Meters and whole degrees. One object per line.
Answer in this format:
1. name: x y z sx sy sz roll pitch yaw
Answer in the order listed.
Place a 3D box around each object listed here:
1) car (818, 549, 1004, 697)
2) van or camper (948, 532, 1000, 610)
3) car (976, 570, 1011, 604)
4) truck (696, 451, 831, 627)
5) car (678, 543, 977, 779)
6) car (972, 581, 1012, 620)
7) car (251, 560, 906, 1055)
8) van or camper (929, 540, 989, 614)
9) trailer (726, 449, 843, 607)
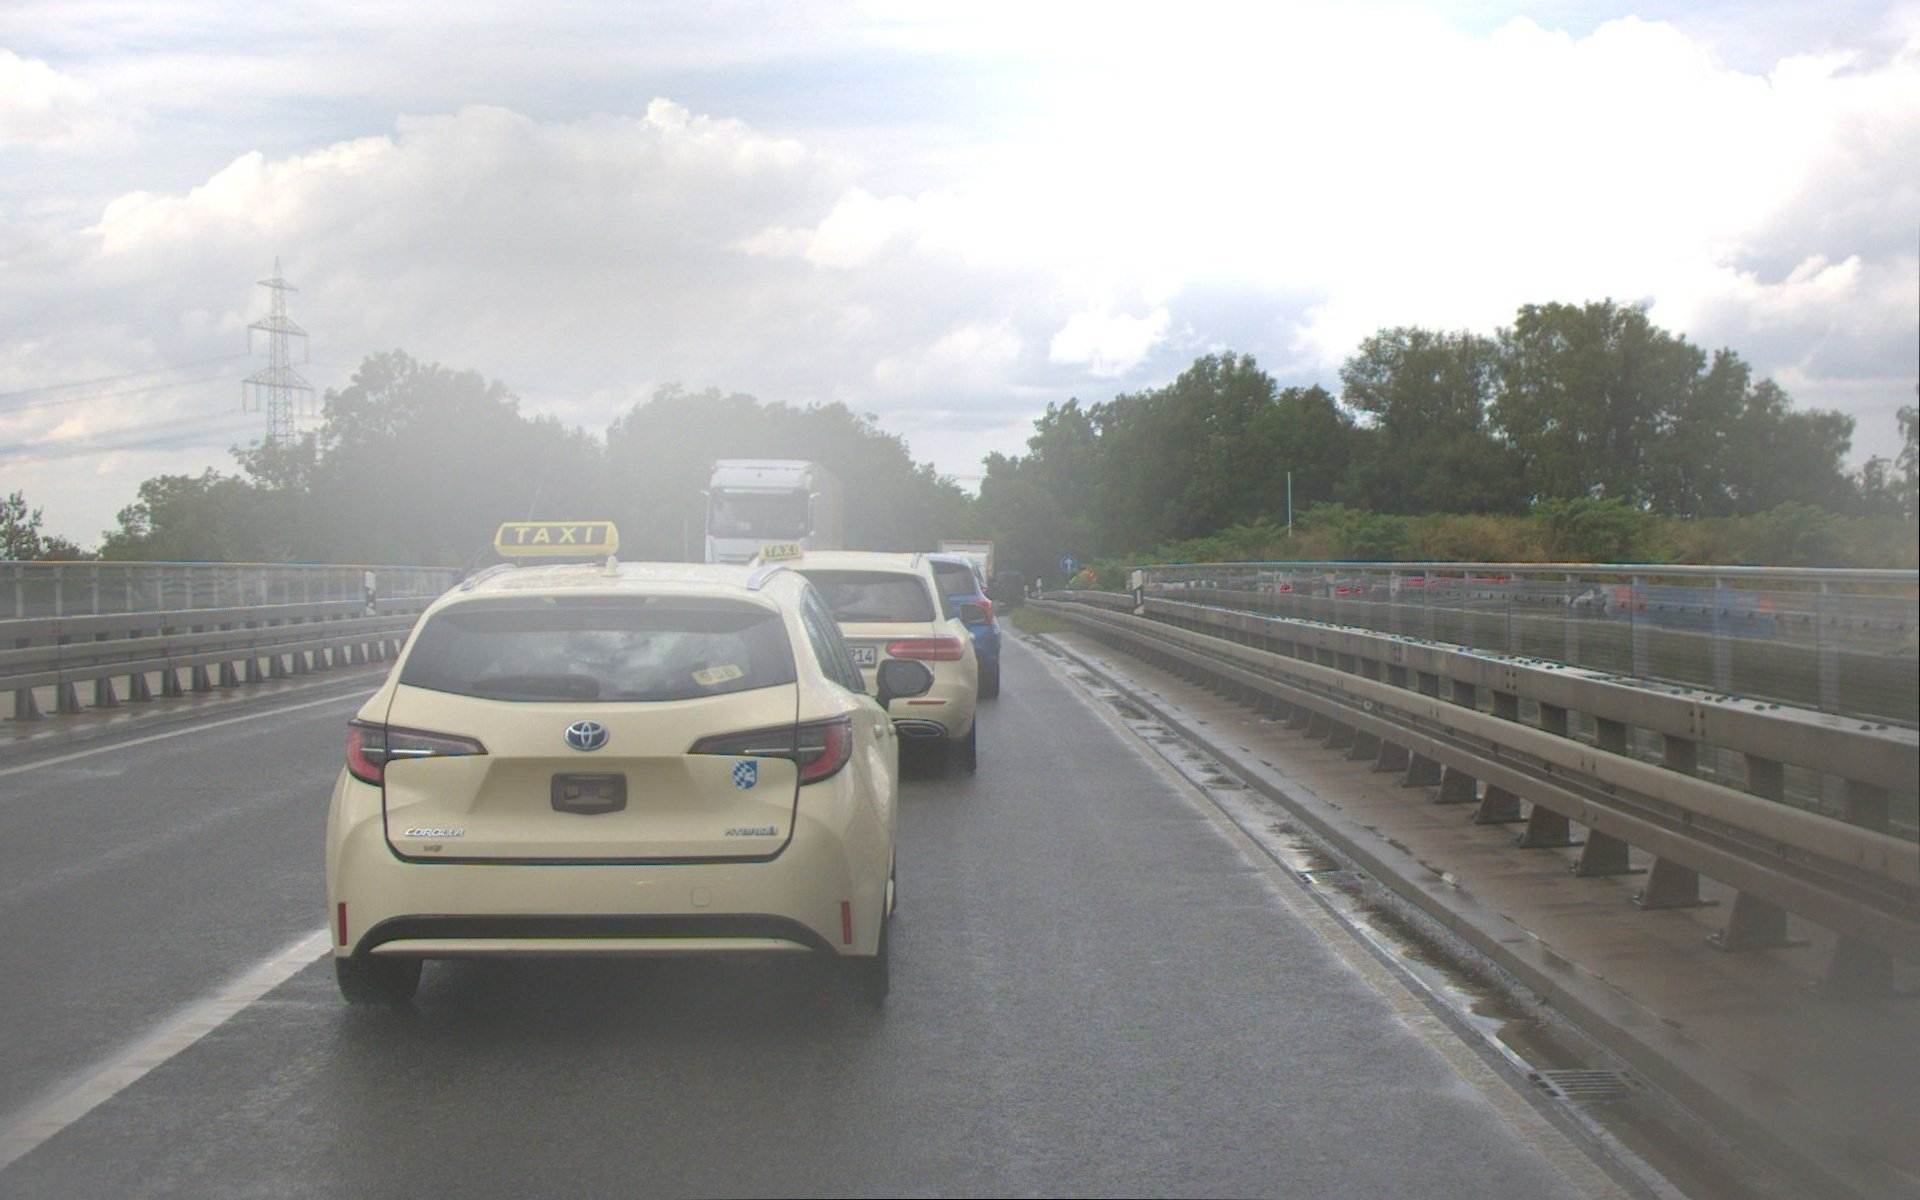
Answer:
1. car: -0.503 0.200 36.720 1.854 1.438 4.171 1 1 0
2. van or camper: 0.644 -1.376 160.715 2.332 3.550 6.307 1 1 0
3. car: 2.053 -0.811 212.615 1.993 2.007 4.000 1 1 -1
4. truck: -4.691 -1.482 83.786 2.682 4.003 10.055 0 1 0
5. car: -0.843 0.349 23.626 1.854 1.438 4.171 1 1 0
6. car: 1.713 0.023 183.842 1.993 2.007 4.000 1 1 -1
7. car: -1.151 0.585 12.142 1.854 1.389 4.171 1 1 0
8. van or camper: -0.050 -0.941 138.014 2.332 2.854 6.307 1 1 0
9. trailer: -4.680 -1.921 93.038 2.682 4.061 8.485 0 1 0
